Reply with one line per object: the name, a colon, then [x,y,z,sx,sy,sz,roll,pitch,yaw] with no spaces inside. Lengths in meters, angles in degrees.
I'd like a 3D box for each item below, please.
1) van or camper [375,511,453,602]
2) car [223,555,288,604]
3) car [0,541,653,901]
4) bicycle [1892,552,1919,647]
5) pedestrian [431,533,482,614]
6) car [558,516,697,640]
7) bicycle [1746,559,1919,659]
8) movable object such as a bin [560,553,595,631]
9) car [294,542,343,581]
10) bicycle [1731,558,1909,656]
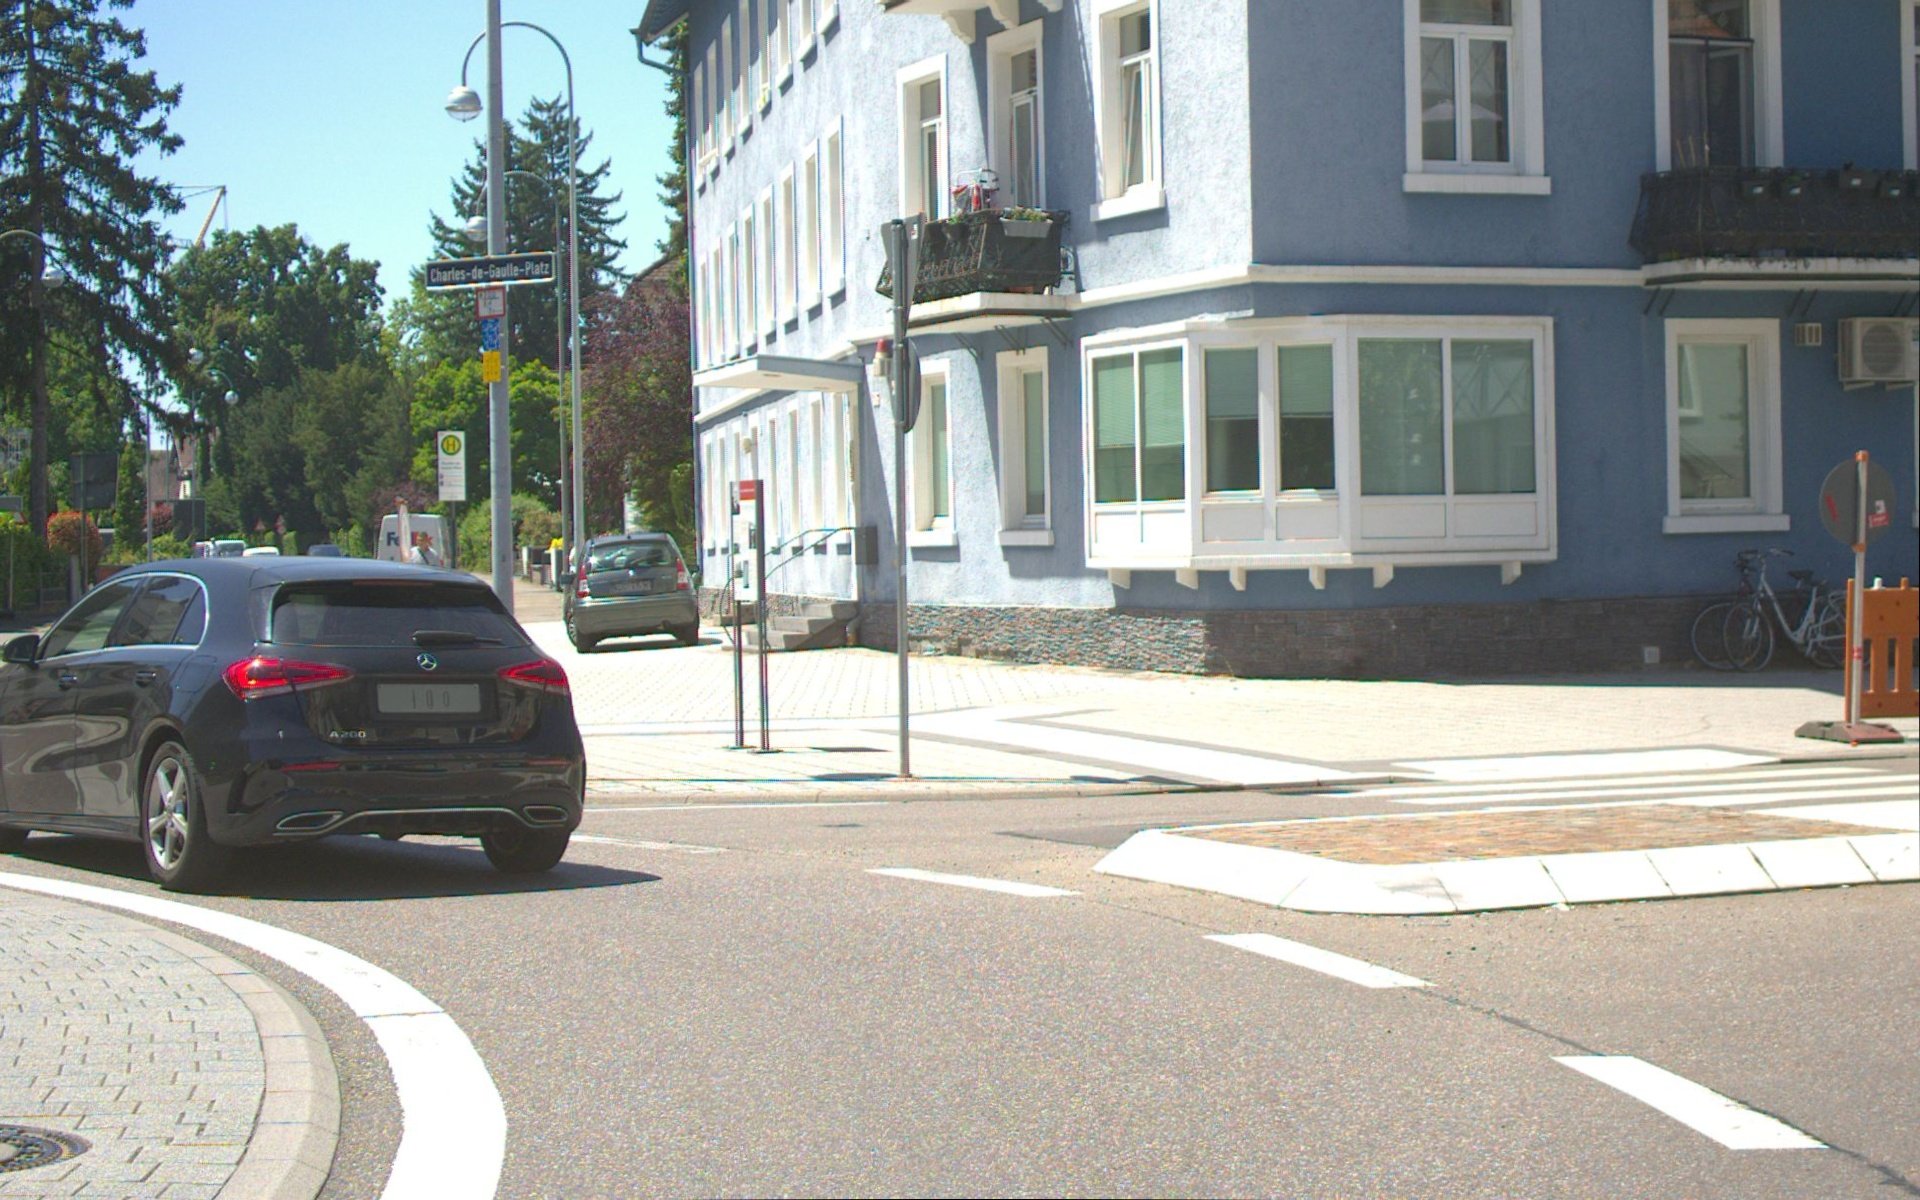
van or camper: [-16.102,-1.278,101.272,2.205,2.602,4.001,-1,1,-9]
car: [-24.224,-0.712,118.272,1.993,1.645,4.001,-1,1,-9]
car: [-3.225,0.468,15.812,1.953,1.422,4.000,0,0,-33]
bicycle: [9.976,-0.017,33.595,1.707,0.903,0.481,-1,3,-21]
pedestrian: [-8.309,-0.440,56.733,0.666,1.281,0.587,-4,2,0]
car: [-4.534,-0.335,46.519,1.639,1.502,3.565,-4,2,-8]
bicycle: [8.307,0.076,32.580,1.707,0.903,0.440,-1,3,-21]
movable object such as a bin: [-5.662,-0.124,50.933,0.283,1.120,1.185,-2,1,3]
car: [-29.208,-1.764,156.647,1.993,1.711,4.001,-1,1,-8]
bicycle: [8.267,0.061,33.049,1.707,0.903,0.440,-1,3,-21]
